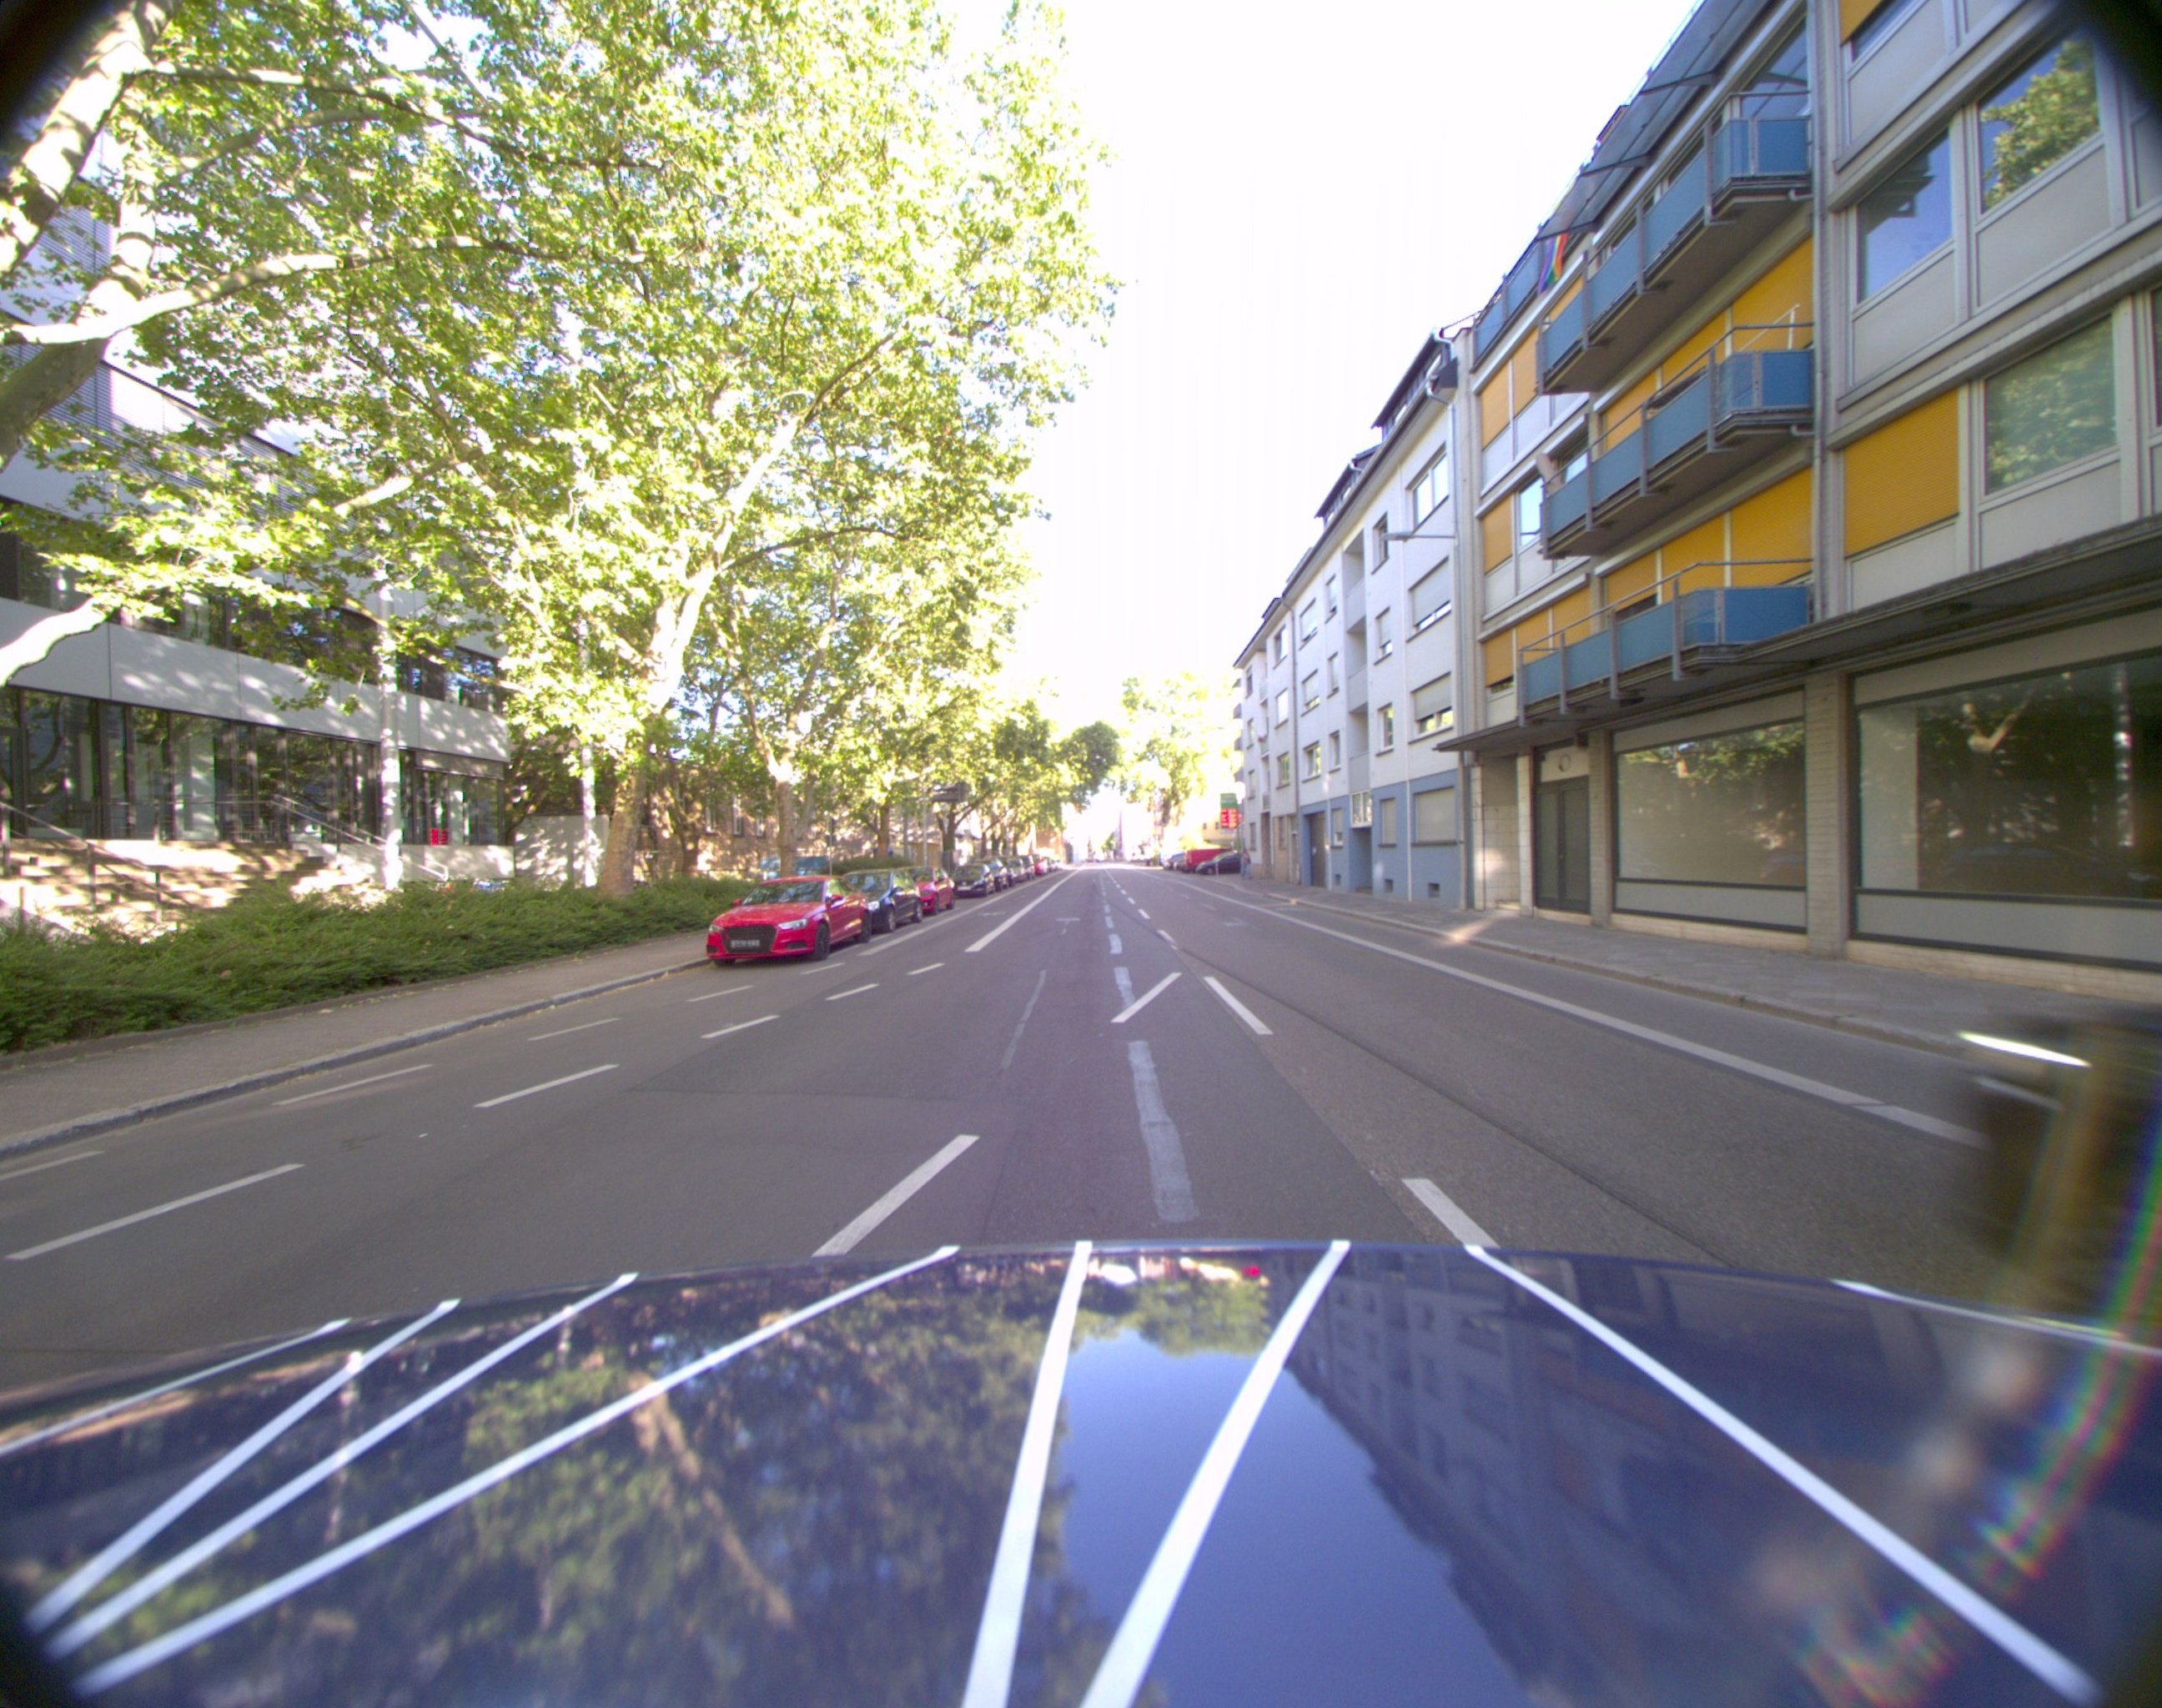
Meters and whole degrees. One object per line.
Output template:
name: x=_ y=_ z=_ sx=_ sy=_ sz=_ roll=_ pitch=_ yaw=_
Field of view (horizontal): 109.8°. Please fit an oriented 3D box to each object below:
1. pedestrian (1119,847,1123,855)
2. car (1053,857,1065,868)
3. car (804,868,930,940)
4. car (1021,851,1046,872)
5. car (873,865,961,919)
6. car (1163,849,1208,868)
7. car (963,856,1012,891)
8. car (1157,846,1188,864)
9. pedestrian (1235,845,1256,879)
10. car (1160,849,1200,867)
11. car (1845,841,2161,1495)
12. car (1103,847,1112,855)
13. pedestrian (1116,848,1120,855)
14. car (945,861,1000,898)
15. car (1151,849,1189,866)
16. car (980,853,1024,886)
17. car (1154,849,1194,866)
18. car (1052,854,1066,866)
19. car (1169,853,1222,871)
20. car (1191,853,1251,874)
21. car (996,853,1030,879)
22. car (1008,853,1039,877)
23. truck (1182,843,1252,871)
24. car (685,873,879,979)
pedestrian: x=10.453 y=-0.831 z=197.882 sx=0.535 sy=2.002 sz=0.769 roll=-1 pitch=2 yaw=42
car: x=-2.637 y=1.029 z=92.339 sx=1.300 sy=1.220 sz=3.241 roll=-1 pitch=1 yaw=0
car: x=-5.046 y=1.120 z=18.506 sx=1.813 sy=1.449 sz=4.000 roll=-1 pitch=0 yaw=2
car: x=-4.116 y=0.616 z=66.172 sx=1.876 sy=1.685 sz=4.166 roll=-1 pitch=0 yaw=1
car: x=-5.002 y=1.116 z=23.743 sx=1.790 sy=1.429 sz=4.000 roll=-1 pitch=0 yaw=1
car: x=10.074 y=0.414 z=73.355 sx=3.998 sy=1.618 sz=1.702 roll=-2 pitch=1 yaw=-5
car: x=-4.631 y=0.921 z=38.201 sx=1.848 sy=1.572 sz=4.232 roll=-2 pitch=0 yaw=1
car: x=10.222 y=0.110 z=85.259 sx=3.267 sy=1.927 sz=1.693 roll=-2 pitch=1 yaw=2
pedestrian: x=8.775 y=0.416 z=40.502 sx=0.896 sy=1.761 sz=0.741 roll=-2 pitch=1 yaw=1
car: x=9.871 y=0.384 z=75.902 sx=3.658 sy=1.578 sz=1.659 roll=-2 pitch=1 yaw=-5
car: x=3.511 y=0.766 z=0.390 sx=1.854 sy=1.561 sz=4.385 roll=-2 pitch=1 yaw=1
car: x=6.755 y=-0.793 z=193.454 sx=1.998 sy=2.002 sz=3.999 roll=-2 pitch=1 yaw=1
pedestrian: x=9.689 y=-0.627 z=198.461 sx=0.613 sy=1.981 sz=0.711 roll=-2 pitch=1 yaw=27
car: x=-4.685 y=1.082 z=33.255 sx=1.745 sy=1.430 sz=4.000 roll=-1 pitch=0 yaw=1
car: x=9.477 y=0.376 z=80.852 sx=3.728 sy=1.579 sz=1.743 roll=-2 pitch=1 yaw=-5
car: x=-4.553 y=0.868 z=44.184 sx=1.998 sy=1.715 sz=4.262 roll=-2 pitch=1 yaw=1
car: x=9.607 y=0.381 z=78.561 sx=3.703 sy=1.573 sz=1.718 roll=-2 pitch=1 yaw=-5
car: x=-2.941 y=0.815 z=102.914 sx=1.707 sy=1.459 sz=3.809 roll=-1 pitch=0 yaw=0
car: x=9.436 y=0.643 z=62.809 sx=4.033 sy=1.265 sz=1.906 roll=-2 pitch=1 yaw=-1
car: x=10.064 y=0.672 z=54.855 sx=3.997 sy=1.385 sz=1.781 roll=-2 pitch=1 yaw=-1
car: x=-4.449 y=0.739 z=50.445 sx=1.798 sy=1.608 sz=4.075 roll=-1 pitch=0 yaw=1
car: x=-4.177 y=0.751 z=55.502 sx=1.831 sy=1.608 sz=4.177 roll=-1 pitch=0 yaw=1
truck: x=10.719 y=0.241 z=60.088 sx=5.088 sy=2.009 sz=2.000 roll=-2 pitch=1 yaw=0
car: x=-5.117 y=1.151 z=13.682 sx=1.775 sy=1.416 sz=4.173 roll=-3 pitch=0 yaw=0
